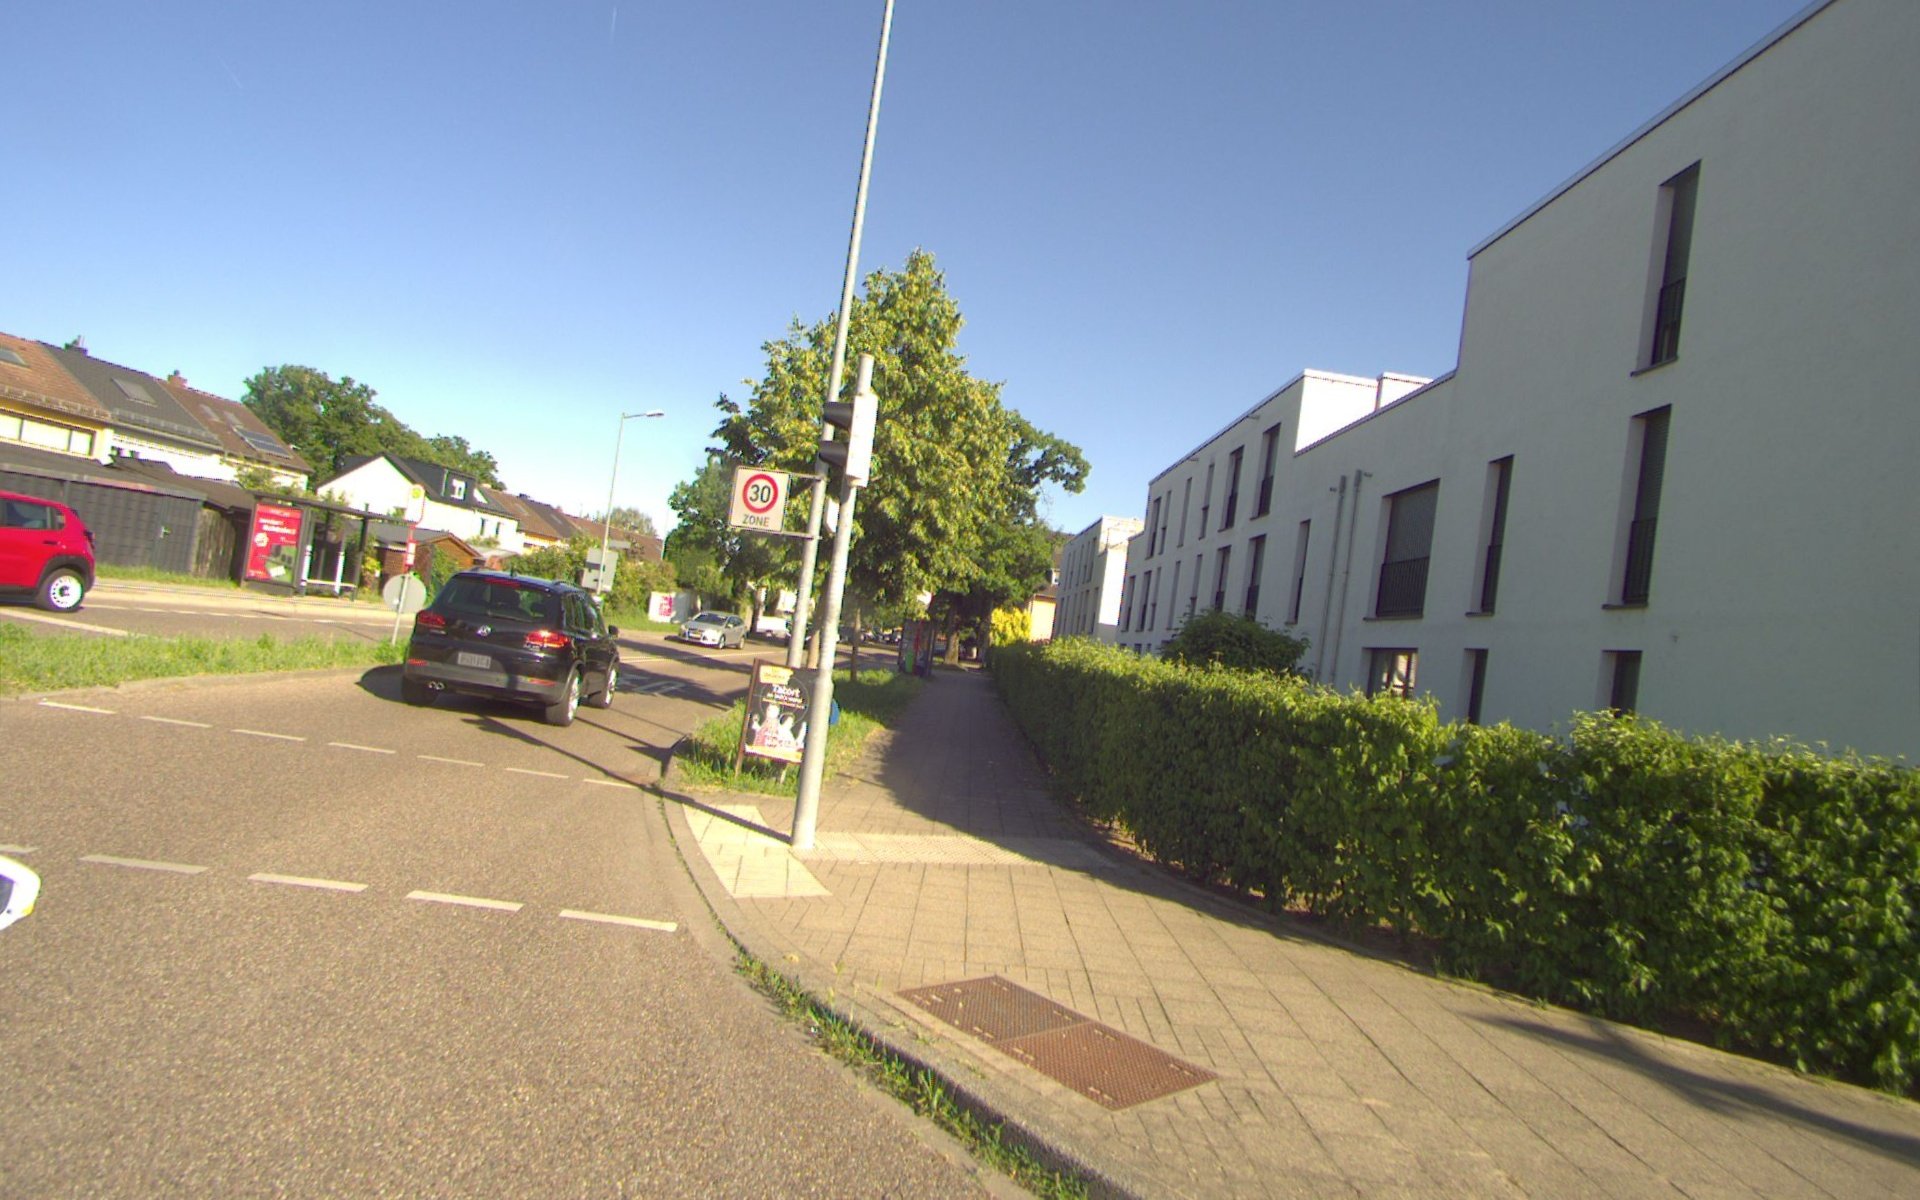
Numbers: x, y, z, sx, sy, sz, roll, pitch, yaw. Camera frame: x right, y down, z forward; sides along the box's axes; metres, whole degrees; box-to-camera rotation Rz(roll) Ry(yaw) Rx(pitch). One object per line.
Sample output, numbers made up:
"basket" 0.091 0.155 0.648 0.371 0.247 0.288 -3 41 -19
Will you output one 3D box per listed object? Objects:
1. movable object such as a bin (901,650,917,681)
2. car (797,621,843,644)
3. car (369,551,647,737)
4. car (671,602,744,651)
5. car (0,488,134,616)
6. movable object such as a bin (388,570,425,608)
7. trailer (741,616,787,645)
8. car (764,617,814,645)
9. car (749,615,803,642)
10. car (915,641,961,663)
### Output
"movable object such as a bin" -1.812 2.297 35.512 0.363 1.028 0.599 8 -1 -9
"car" -13.596 3.166 97.846 3.926 1.658 2.002 8 -2 1
"car" -5.468 0.523 12.896 1.904 1.672 4.510 10 -3 -9
"car" -10.418 1.133 41.865 2.179 1.608 4.533 9 -3 -6
"car" -13.619 -0.816 13.083 1.910 1.606 4.186 8 -3 4
"movable object such as a bin" -16.437 -0.322 29.866 0.584 0.978 0.559 12 -1 4
"trailer" -14.131 2.193 72.662 2.924 1.674 1.396 8 -2 -4
"car" -13.175 2.373 77.705 3.499 1.631 1.852 9 -2 -6
"car" -13.634 2.101 74.717 3.495 1.494 1.810 8 -2 0
"car" -1.978 4.660 90.549 3.927 1.384 1.848 8 -2 0
